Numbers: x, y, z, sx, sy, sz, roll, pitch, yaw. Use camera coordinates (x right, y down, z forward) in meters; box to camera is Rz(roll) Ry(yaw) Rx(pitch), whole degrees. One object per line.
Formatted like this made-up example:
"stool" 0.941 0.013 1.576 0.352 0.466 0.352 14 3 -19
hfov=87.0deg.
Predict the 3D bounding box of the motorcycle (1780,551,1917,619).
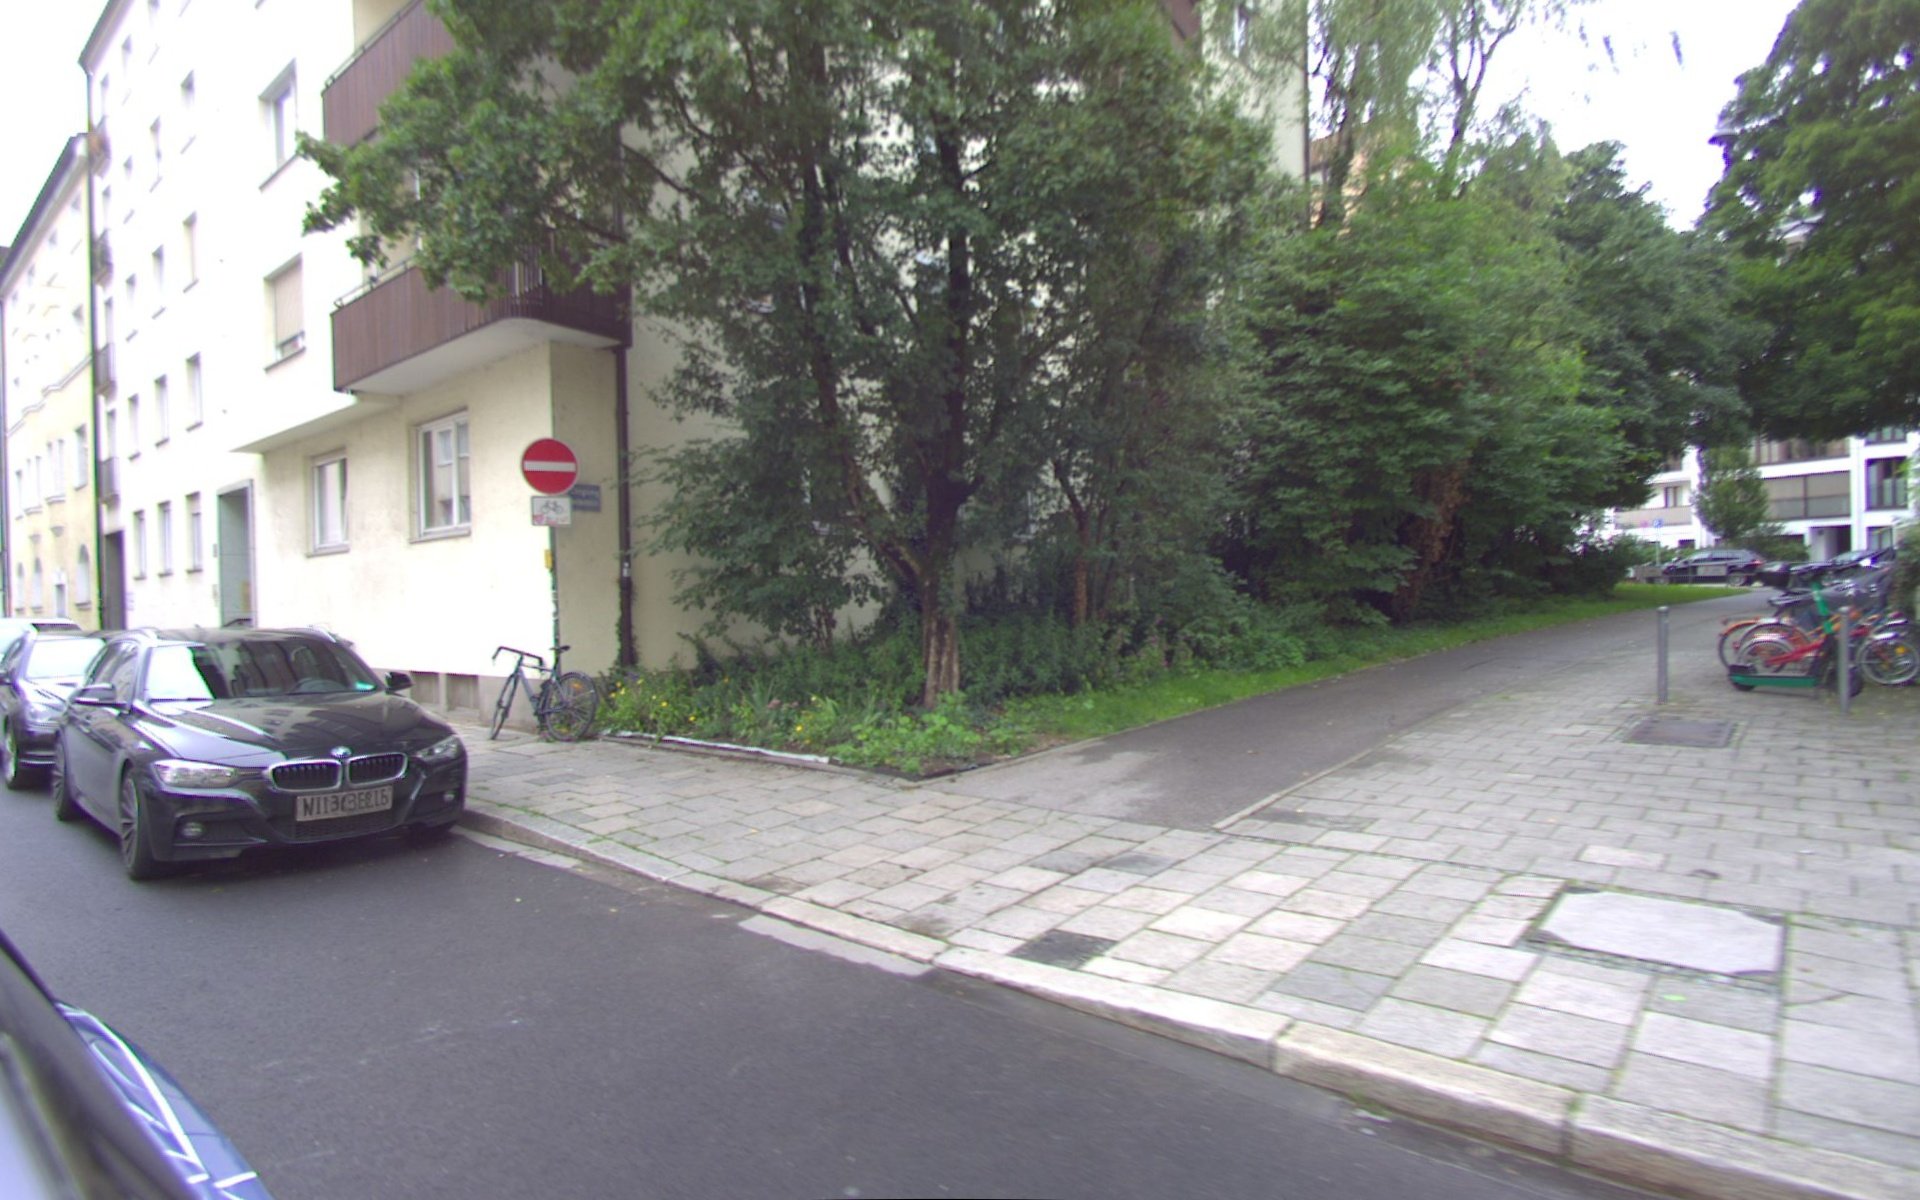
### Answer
"motorcycle" 16.824 -0.269 19.203 1.807 1.155 0.539 -4 -1 22

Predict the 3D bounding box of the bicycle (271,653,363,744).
"bicycle" -9.242 1.375 14.517 1.788 1.170 0.638 -1 -2 42

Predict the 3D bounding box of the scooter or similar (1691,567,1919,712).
"scooter or similar" 7.582 0.355 9.110 1.569 1.212 0.318 -2 -1 40

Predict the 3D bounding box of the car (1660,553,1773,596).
"car" 34.020 -1.123 45.555 1.747 1.719 3.813 -2 0 -44

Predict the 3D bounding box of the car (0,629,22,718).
"car" -17.655 1.257 17.561 3.801 1.446 1.635 -1 -1 41

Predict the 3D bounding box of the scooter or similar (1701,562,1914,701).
"scooter or similar" 8.242 0.299 9.919 0.339 1.253 1.550 -1 -1 -28

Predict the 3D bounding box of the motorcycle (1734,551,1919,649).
"motorcycle" 11.614 0.025 13.612 1.819 1.207 0.536 -4 -1 42

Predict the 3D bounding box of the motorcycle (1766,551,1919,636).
"motorcycle" 13.899 -0.097 15.873 1.807 1.207 0.539 -4 -1 22

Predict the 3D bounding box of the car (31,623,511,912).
"car" -5.096 0.903 7.218 4.381 1.419 1.836 -2 -1 42

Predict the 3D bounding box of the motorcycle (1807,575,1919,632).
"motorcycle" 15.079 0.046 16.507 1.807 0.843 0.539 -4 -1 22

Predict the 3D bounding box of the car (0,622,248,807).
"car" -9.070 1.002 10.580 4.423 1.494 1.747 -1 -1 42

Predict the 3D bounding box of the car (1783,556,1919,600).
"car" 37.013 -0.896 41.997 1.747 1.558 4.247 -2 0 -44

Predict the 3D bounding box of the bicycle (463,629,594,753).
"bicycle" -4.496 0.893 10.494 1.788 1.170 0.529 -1 -2 42

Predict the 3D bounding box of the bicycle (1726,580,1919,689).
"bicycle" 8.824 0.351 10.295 1.607 1.046 0.419 -2 -1 40

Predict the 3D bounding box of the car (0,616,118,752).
"car" -13.465 1.082 14.250 4.364 1.688 1.748 -1 -1 40

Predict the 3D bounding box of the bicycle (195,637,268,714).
"bicycle" -11.889 1.196 16.493 1.788 1.170 0.575 -1 -2 42

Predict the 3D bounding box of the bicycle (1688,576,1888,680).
"bicycle" 8.866 0.302 10.898 1.607 1.046 0.509 -2 -1 40
